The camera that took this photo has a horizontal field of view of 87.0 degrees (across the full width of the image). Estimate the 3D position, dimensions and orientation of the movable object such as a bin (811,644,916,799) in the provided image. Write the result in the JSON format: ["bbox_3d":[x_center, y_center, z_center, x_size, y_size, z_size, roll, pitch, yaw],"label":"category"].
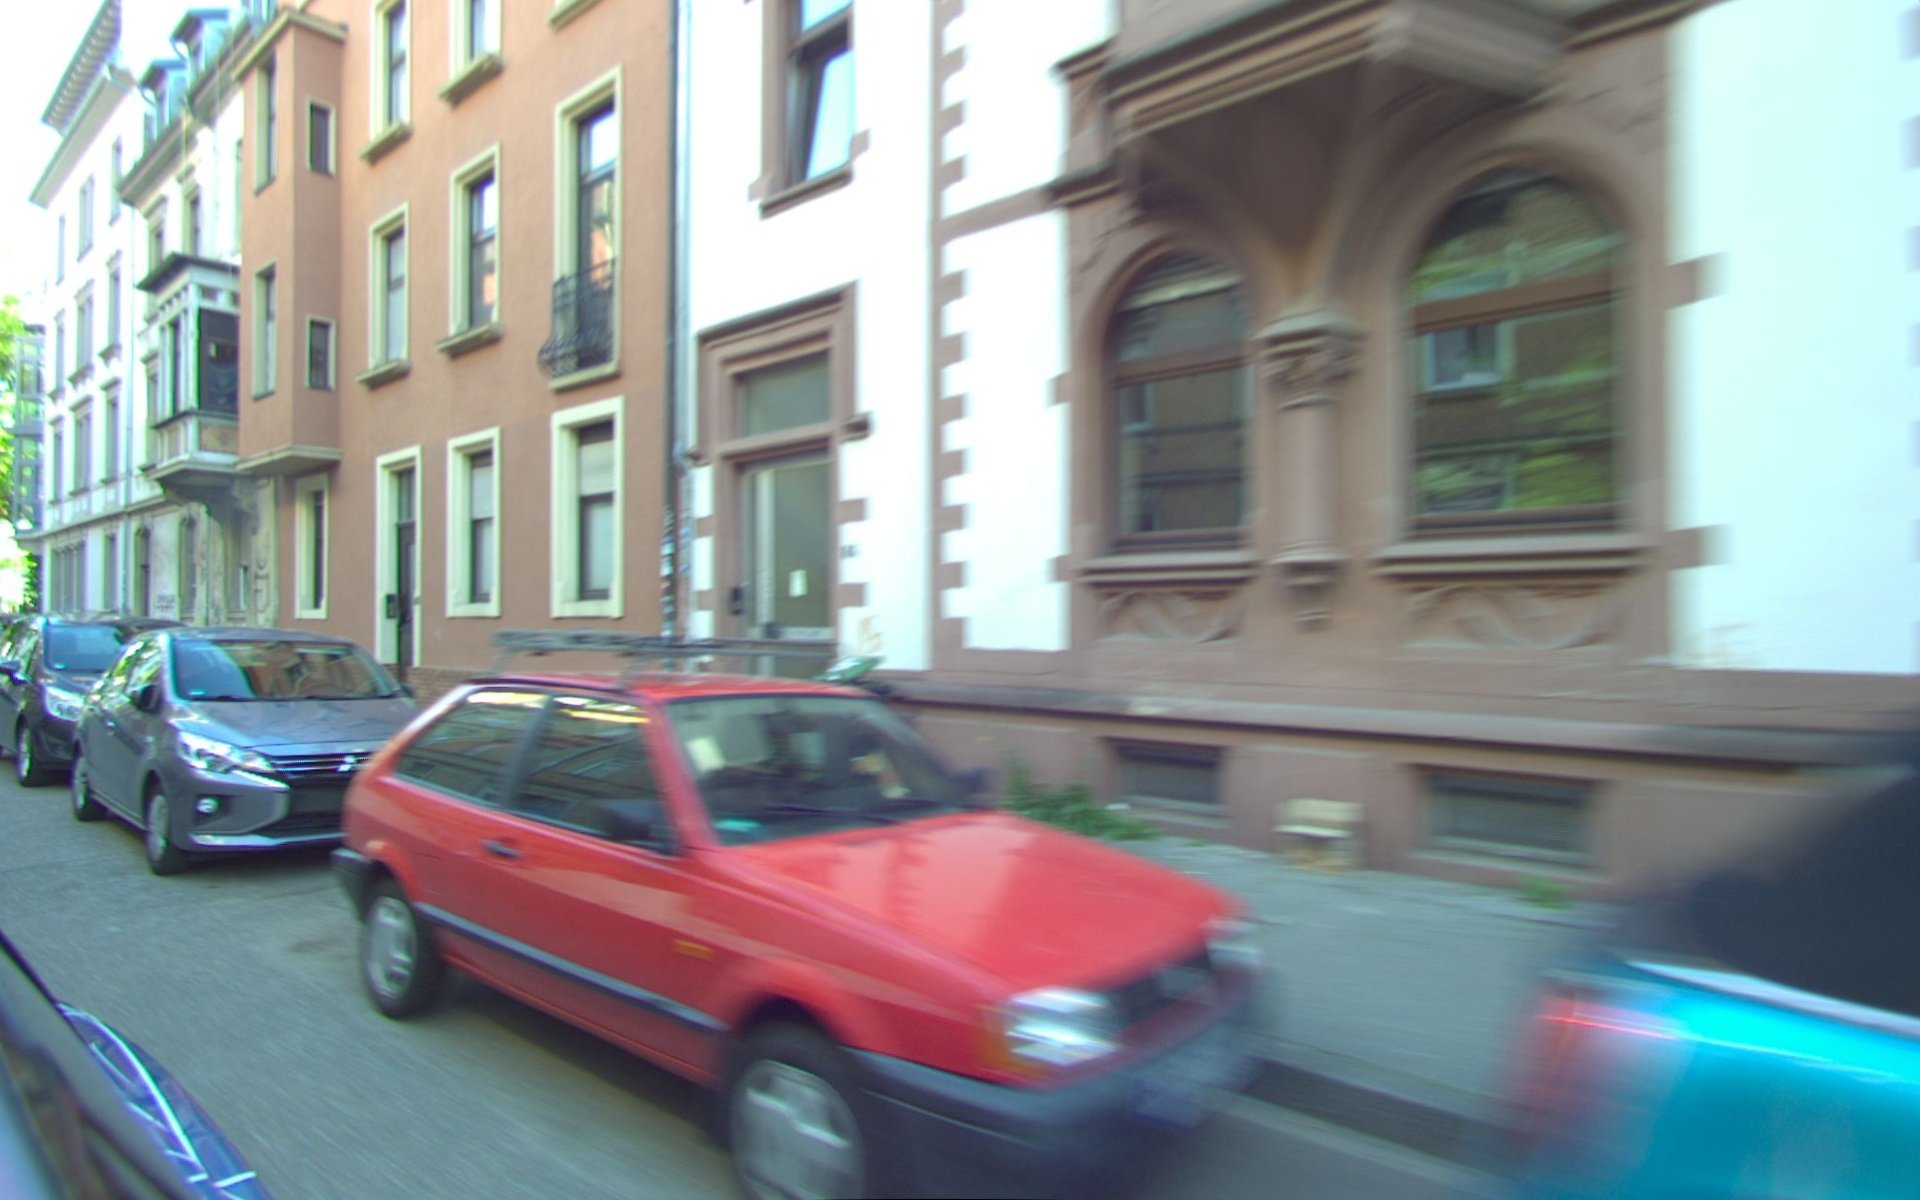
[{"bbox_3d":[-0.712,0.862,7.423,0.543,1.034,0.560,-1,0,-36],"label":"movable object such as a bin"}]

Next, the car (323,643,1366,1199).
[{"bbox_3d":[-0.657,0.871,3.599,3.608,1.337,1.602,-1,-4,39],"label":"car"}]

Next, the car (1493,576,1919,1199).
[{"bbox_3d":[2.728,0.737,0.689,3.897,1.423,1.700,-1,-6,43],"label":"car"}]

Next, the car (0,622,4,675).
[{"bbox_3d":[-20.605,1.147,20.219,3.835,1.467,1.626,-1,-4,39],"label":"car"}]

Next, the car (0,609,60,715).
[{"bbox_3d":[-16.455,0.979,16.787,4.186,1.630,1.743,-1,-1,41],"label":"car"}]

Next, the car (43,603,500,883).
[{"bbox_3d":[-5.107,0.841,7.312,3.916,1.486,1.677,-1,-4,40],"label":"car"}]

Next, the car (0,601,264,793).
[{"bbox_3d":[-8.949,0.852,10.486,4.064,1.618,1.764,-1,-1,39],"label":"car"}]
